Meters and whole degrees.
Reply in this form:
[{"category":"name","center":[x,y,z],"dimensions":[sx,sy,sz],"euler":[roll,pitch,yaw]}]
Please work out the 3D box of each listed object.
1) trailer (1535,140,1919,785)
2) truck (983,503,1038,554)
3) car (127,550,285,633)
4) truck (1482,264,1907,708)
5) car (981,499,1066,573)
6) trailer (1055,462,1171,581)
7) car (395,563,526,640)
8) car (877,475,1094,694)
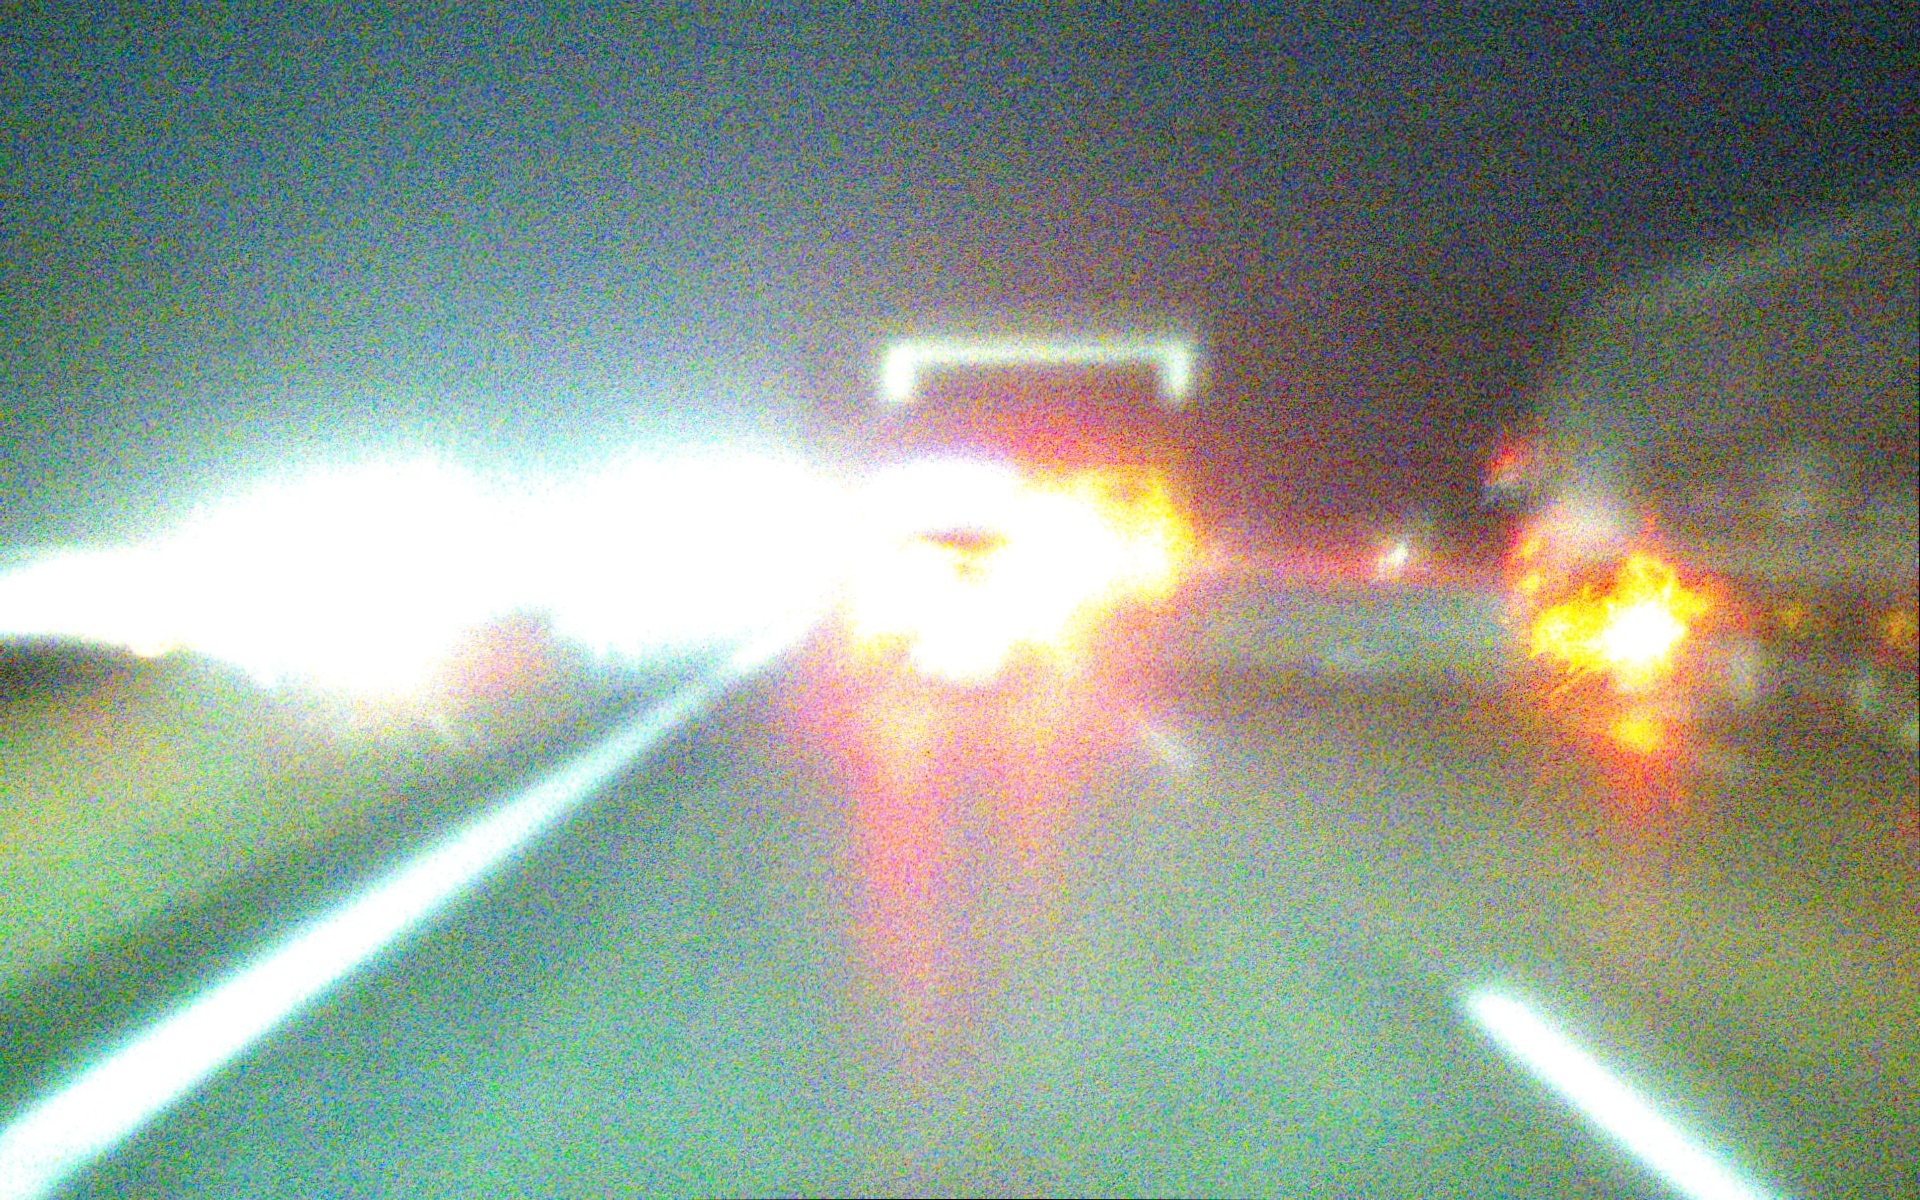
[{"category":"trailer","center":[7.468,-1.014,27.854],"dimensions":[2.903,4.094,14.489],"euler":[-1,1,-1]},{"category":"truck","center":[3.427,-4.860,235.230],"dimensions":[3.037,3.286,11.382],"euler":[-2,1,-2]},{"category":"car","center":[-14.122,-0.190,64.636],"dimensions":[1.993,1.435,4.437],"euler":[-1,1,0]},{"category":"truck","center":[7.354,-1.128,35.287],"dimensions":[2.903,4.094,6.031],"euler":[-1,1,-1]},{"category":"car","center":[1.780,-1.810,97.946],"dimensions":[1.993,2.007,4.001],"euler":[-2,1,-4]},{"category":"trailer","center":[5.603,-2.855,128.585],"dimensions":[3.041,4.094,13.830],"euler":[-2,1,-2]},{"category":"car","center":[-10.066,0.010,69.582],"dimensions":[1.993,1.435,4.437],"euler":[-1,1,0]},{"category":"car","center":[0.205,-0.155,33.953],"dimensions":[1.993,2.007,4.000],"euler":[1,0,-1]}]
